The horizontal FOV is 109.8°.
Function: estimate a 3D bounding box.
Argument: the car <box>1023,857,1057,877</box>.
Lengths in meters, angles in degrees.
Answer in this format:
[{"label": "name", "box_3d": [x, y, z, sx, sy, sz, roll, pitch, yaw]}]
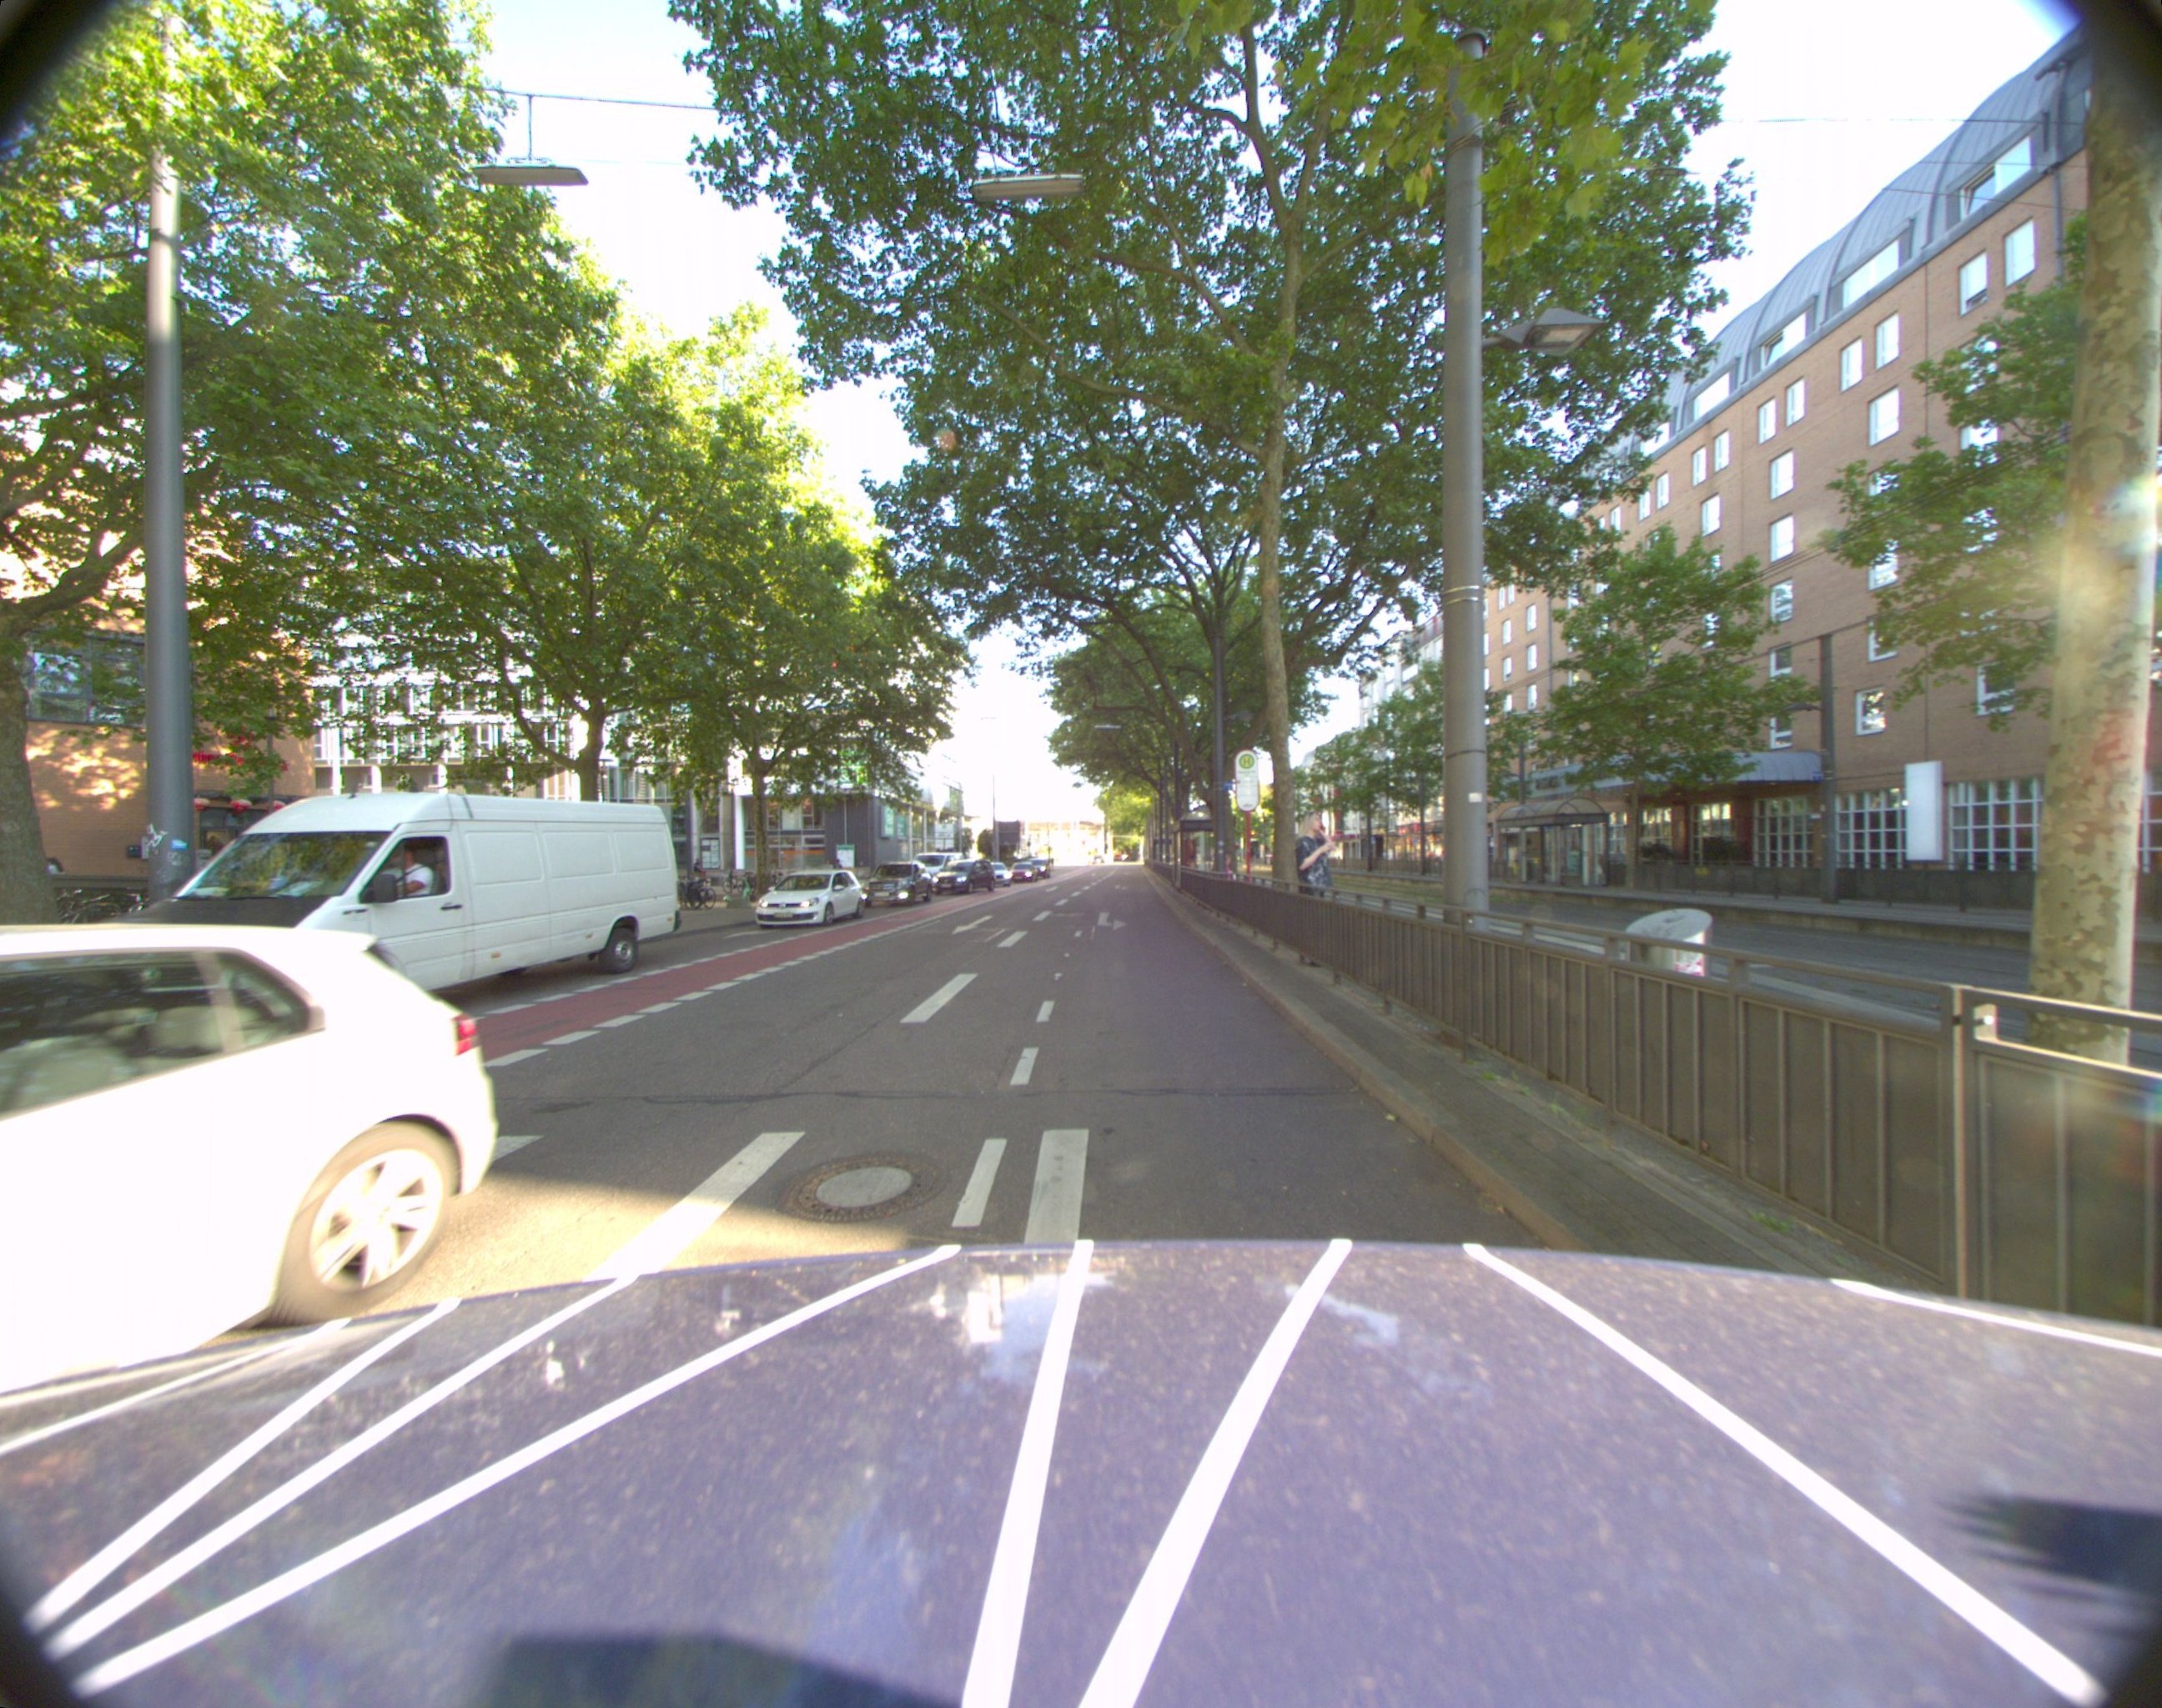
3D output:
[{"label": "car", "box_3d": [-3.340, 1.011, 62.669, 1.784, 1.481, 4.198, -3, 0, 10]}]

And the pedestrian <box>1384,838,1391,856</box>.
[{"label": "pedestrian", "box_3d": [30.689, -0.714, 76.148, 0.504, 1.725, 0.574, -1, 1, 3]}]

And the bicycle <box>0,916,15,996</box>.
[{"label": "bicycle", "box_3d": [-14.265, 1.338, 8.054, 1.050, 0.996, 3.412, -2, 1, 1]}]

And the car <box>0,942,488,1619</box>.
[{"label": "car", "box_3d": [-3.400, 1.065, 1.122, 1.752, 1.410, 4.001, -2, -1, 3]}]

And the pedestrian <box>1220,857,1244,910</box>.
[{"label": "pedestrian", "box_3d": [3.899, 0.759, 19.629, 0.542, 1.310, 0.524, -2, 1, 12]}]

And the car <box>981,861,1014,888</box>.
[{"label": "car", "box_3d": [-5.048, 1.188, 45.831, 1.837, 1.481, 4.193, -2, 0, -6]}]

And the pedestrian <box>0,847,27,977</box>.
[{"label": "pedestrian", "box_3d": [-17.080, 0.895, 11.466, 0.934, 2.002, 1.091, -1, 1, -25]}]

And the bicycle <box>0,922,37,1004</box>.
[{"label": "bicycle", "box_3d": [-13.306, 1.338, 7.997, 0.925, 0.943, 2.637, -2, 1, 1]}]

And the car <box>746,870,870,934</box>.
[{"label": "car", "box_3d": [-7.142, 1.196, 20.336, 1.639, 1.420, 3.987, -2, 0, 3]}]

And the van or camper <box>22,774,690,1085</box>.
[{"label": "van or camper", "box_3d": [-7.791, 0.637, 9.646, 2.004, 2.599, 6.499, -1, 0, 3]}]

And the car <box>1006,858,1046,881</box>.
[{"label": "car", "box_3d": [-3.880, 1.078, 54.315, 1.834, 1.481, 4.198, -3, 0, 10]}]

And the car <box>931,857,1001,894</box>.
[{"label": "car", "box_3d": [-5.452, 0.998, 36.722, 1.708, 1.626, 4.395, -2, 0, 14]}]

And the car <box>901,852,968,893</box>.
[{"label": "car", "box_3d": [-7.561, 0.896, 39.912, 1.932, 1.953, 5.920, -2, 0, 4]}]

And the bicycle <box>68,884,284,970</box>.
[{"label": "bicycle", "box_3d": [-14.841, 1.151, 12.594, 0.671, 1.155, 2.305, -2, 1, 3]}]

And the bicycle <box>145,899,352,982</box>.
[{"label": "bicycle", "box_3d": [-13.316, 1.336, 12.298, 0.682, 1.054, 2.337, -1, 1, 2]}]

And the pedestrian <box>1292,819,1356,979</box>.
[{"label": "pedestrian", "box_3d": [2.874, 0.523, 9.006, 0.543, 1.823, 0.524, -2, 1, 2]}]

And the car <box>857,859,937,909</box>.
[{"label": "car", "box_3d": [-6.773, 1.064, 28.387, 1.769, 1.626, 4.250, -2, 0, 2]}]

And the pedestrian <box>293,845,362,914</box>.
[{"label": "pedestrian", "box_3d": [-22.801, 0.757, 23.013, 1.013, 2.002, 1.016, -2, 1, 12]}]
